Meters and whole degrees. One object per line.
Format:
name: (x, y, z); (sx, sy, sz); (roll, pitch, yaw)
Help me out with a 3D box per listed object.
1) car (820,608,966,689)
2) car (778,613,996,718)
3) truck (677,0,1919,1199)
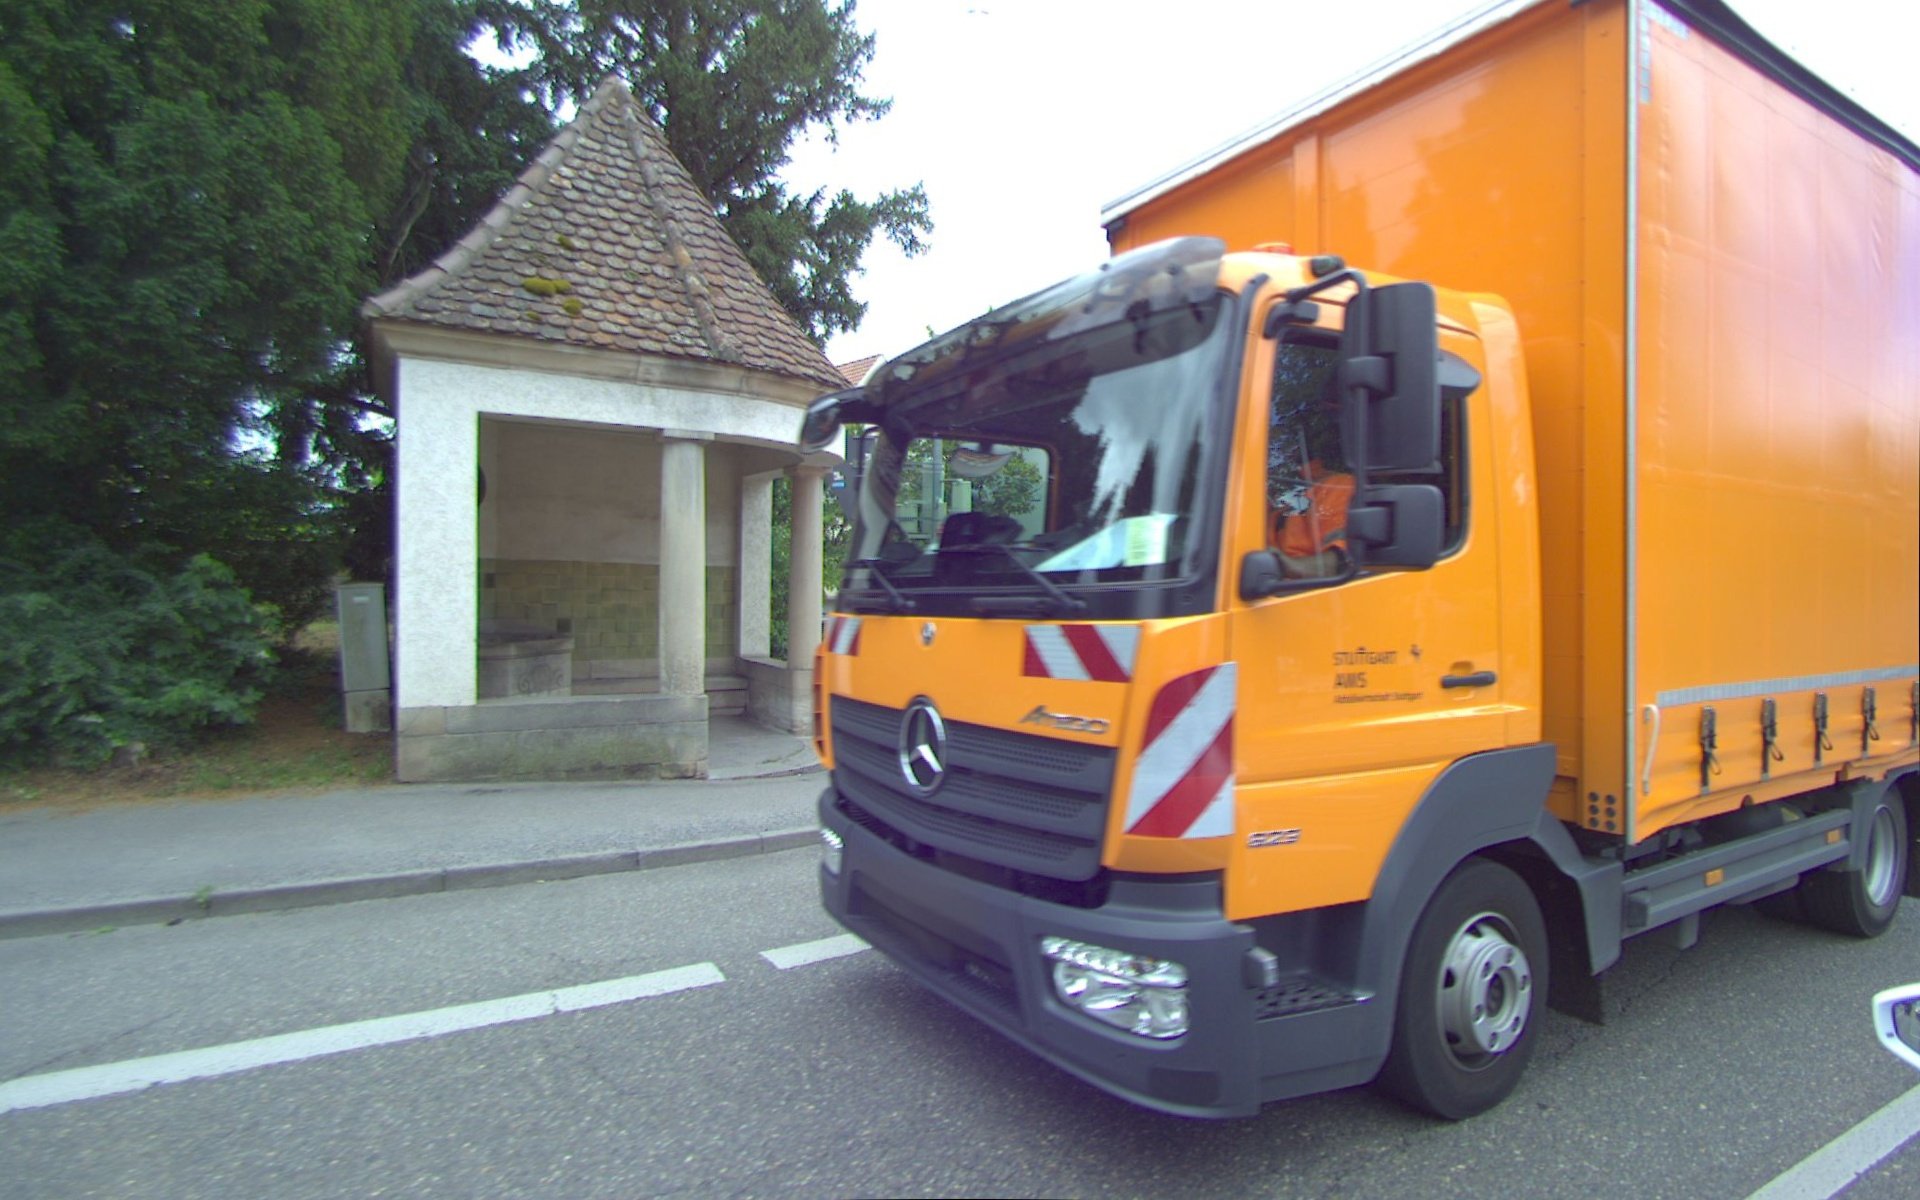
car: (-1.925, 1.311, 27.493); (1.981, 2.040, 4.426); (1, -3, -36)
car: (-1.479, 1.127, 18.561); (1.947, 1.692, 4.442); (1, -2, -37)
truck: (3.084, -0.372, 5.254); (8.374, 3.768, 2.754); (1, -1, -32)
